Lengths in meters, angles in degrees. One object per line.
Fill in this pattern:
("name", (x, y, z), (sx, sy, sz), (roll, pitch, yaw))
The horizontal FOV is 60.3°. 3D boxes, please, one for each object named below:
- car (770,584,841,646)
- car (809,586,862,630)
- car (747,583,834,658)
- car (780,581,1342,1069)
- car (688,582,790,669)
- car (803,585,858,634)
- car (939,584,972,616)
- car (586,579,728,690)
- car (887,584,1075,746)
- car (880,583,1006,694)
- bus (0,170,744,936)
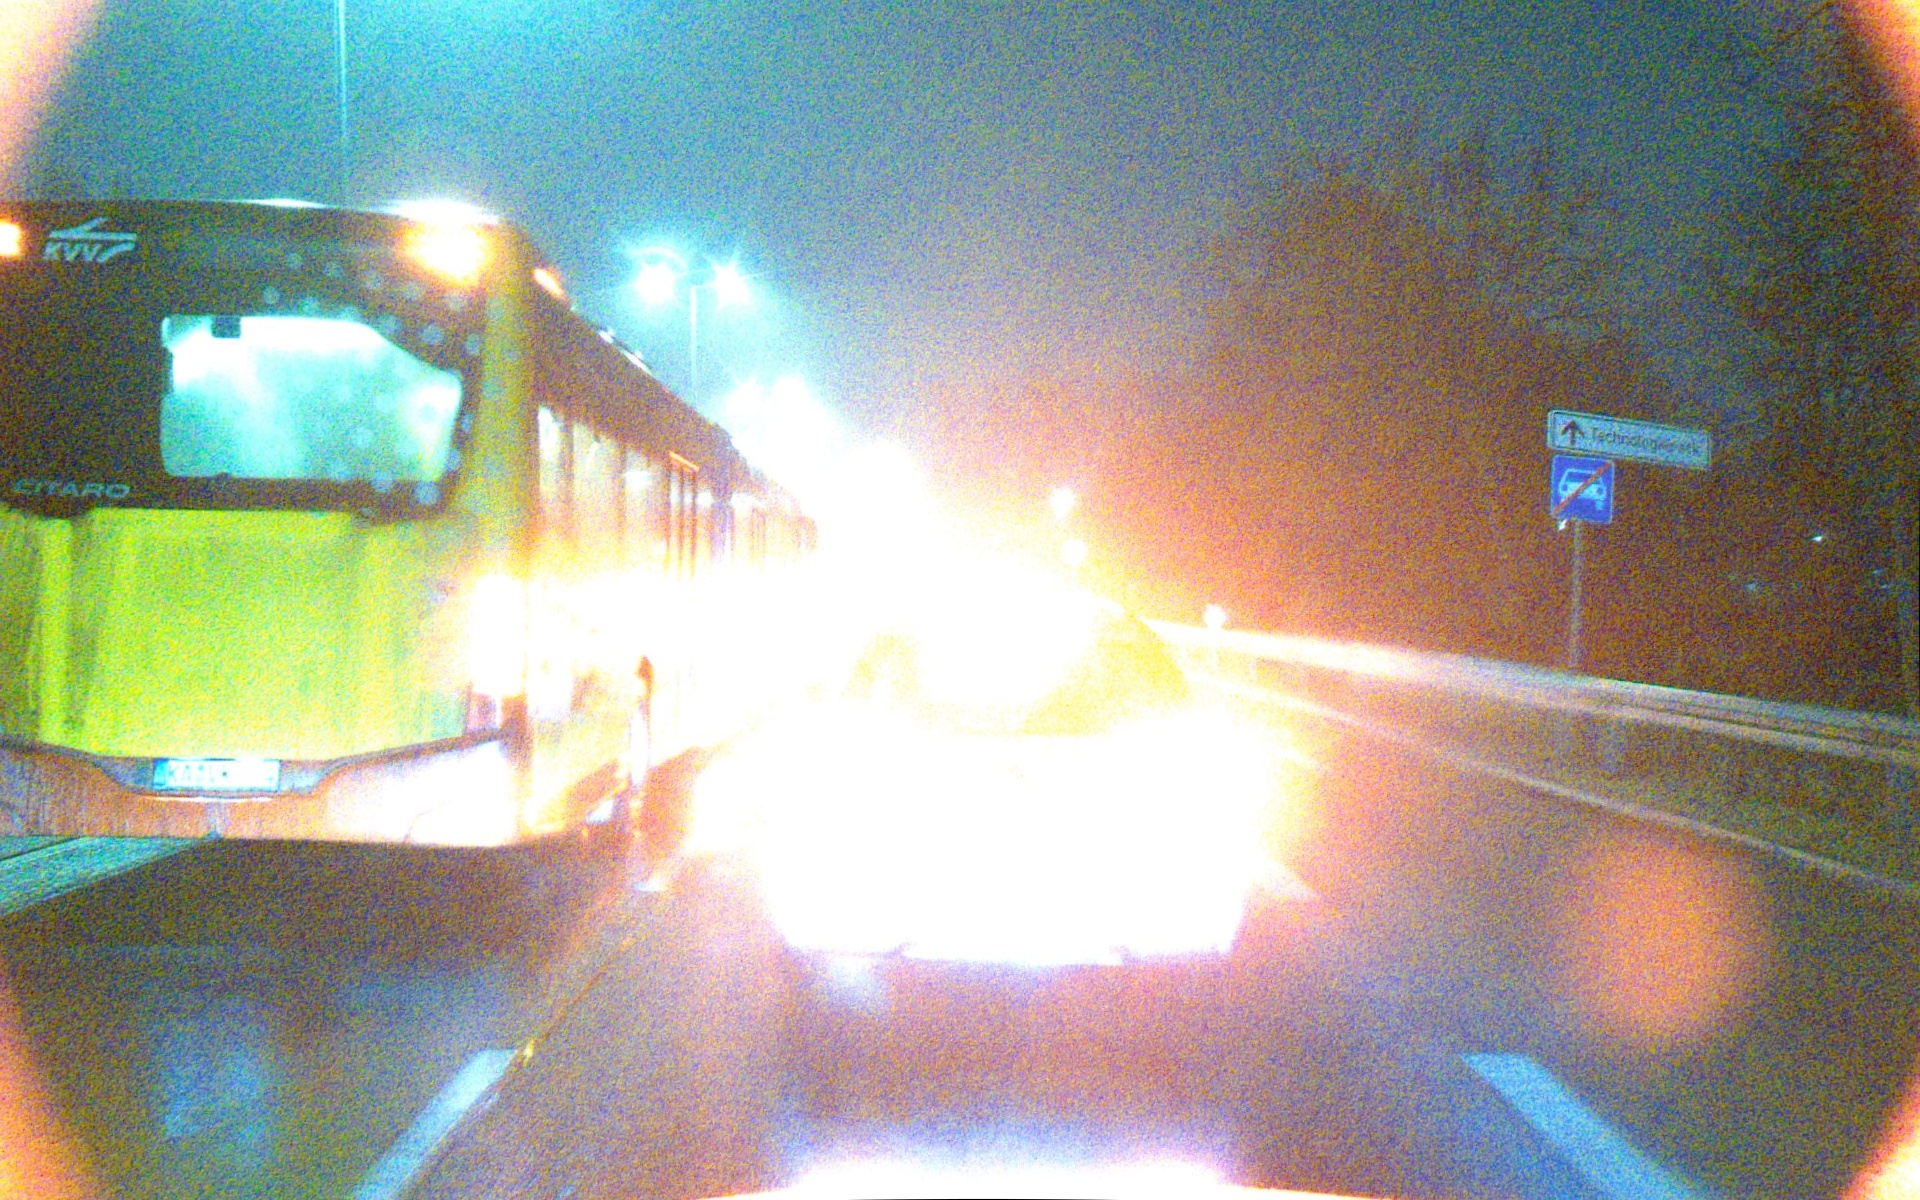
("car", (-4.105, 0.376, 44.391), (1.744, 1.570, 3.872), (1, 0, -3))
("car", (-4.625, 0.278, 61.769), (1.743, 1.570, 3.874), (1, 0, -1))
("car", (-3.707, 0.420, 36.669), (1.744, 1.570, 3.872), (1, 0, -3))
("car", (0.119, 0.685, 7.486), (1.786, 1.510, 4.562), (0, 0, -6))
("car", (-4.226, 0.456, 32.095), (1.744, 1.570, 3.871), (1, 0, -4))
("car", (-4.343, 0.291, 55.428), (1.744, 1.570, 3.871), (1, 0, -4))
("car", (-0.288, 0.015, 101.667), (1.913, 1.915, 3.999), (1, 0, -1))
("car", (-4.606, 0.480, 25.578), (1.744, 1.570, 3.871), (1, 0, -4))
("car", (0.095, 0.581, 17.542), (1.697, 1.474, 4.722), (1, 0, -3))
("car", (-0.332, 0.541, 25.819), (1.705, 1.592, 3.773), (1, 0, -4))
("bus", (-3.210, -0.210, 11.030), (2.759, 3.077, 8.683), (0, 0, -3))
